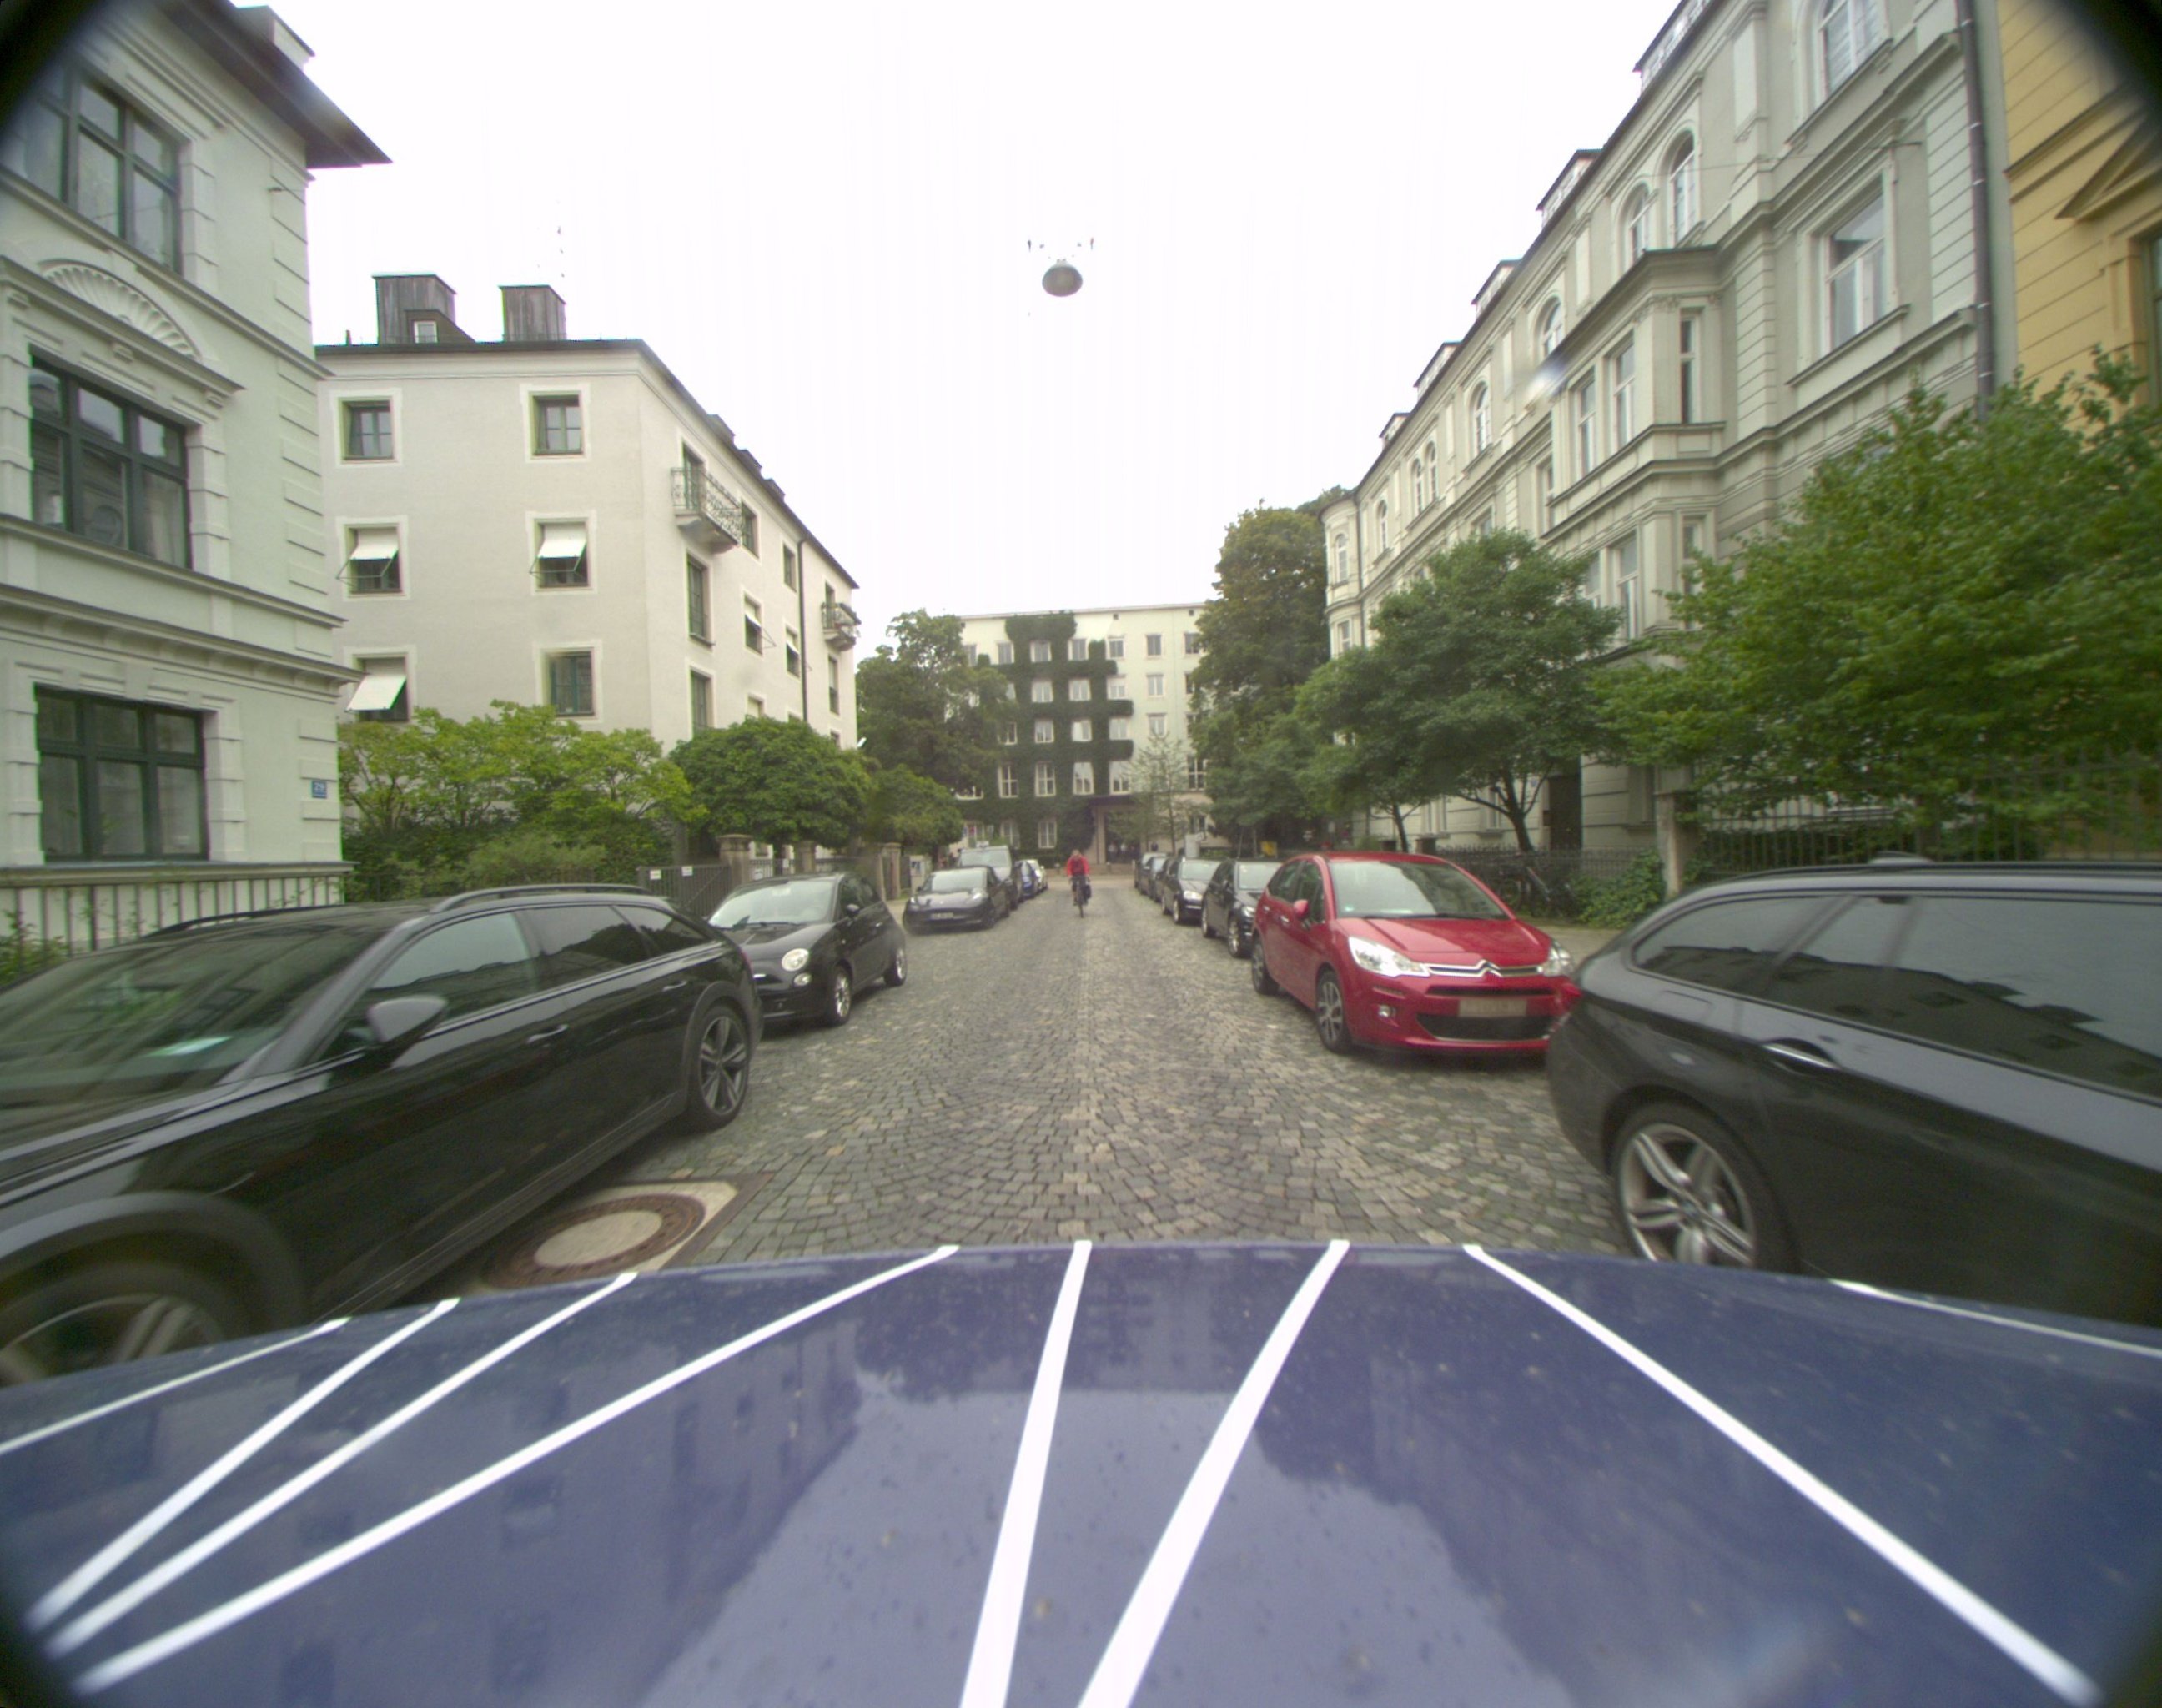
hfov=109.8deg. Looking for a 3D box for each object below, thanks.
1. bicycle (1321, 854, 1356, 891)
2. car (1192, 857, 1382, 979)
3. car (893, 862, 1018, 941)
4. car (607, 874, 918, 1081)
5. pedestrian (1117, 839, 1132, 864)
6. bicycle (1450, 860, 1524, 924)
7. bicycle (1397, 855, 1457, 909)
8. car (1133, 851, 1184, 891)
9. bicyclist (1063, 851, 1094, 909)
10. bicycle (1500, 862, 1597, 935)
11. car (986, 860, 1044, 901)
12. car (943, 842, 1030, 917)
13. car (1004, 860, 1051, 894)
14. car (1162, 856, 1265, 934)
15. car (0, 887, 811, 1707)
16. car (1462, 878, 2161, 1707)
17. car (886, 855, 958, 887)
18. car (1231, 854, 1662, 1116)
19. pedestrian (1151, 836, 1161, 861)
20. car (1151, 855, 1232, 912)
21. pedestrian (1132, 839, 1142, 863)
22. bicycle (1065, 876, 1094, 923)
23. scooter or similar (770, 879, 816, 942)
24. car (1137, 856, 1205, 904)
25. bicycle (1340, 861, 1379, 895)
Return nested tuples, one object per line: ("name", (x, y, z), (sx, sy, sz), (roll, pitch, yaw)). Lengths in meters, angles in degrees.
("bicycle", (8.081, 0.562, 23.891), (0.464, 1.045, 1.695), (-5, 1, 1))
("car", (3.061, 0.852, 12.374), (1.822, 1.500, 4.642), (1, 1, 0))
("car", (-2.828, 1.028, 18.271), (1.942, 1.457, 4.532), (-4, 0, 3))
("car", (-3.078, 1.090, 8.246), (1.671, 1.499, 3.685), (-5, 0, 1))
("pedestrian", (3.494, -0.193, 60.515), (0.703, 1.905, 0.861), (-5, 2, -30))
("bicycle", (7.806, 0.696, 14.702), (0.434, 1.092, 1.790), (-5, 1, 1))
("bicycle", (7.940, 0.612, 17.505), (0.510, 1.118, 1.790), (-5, 1, 1))
("car", (3.238, 0.674, 32.560), (1.744, 1.572, 4.281), (-1, 1, 0))
("bicyclist", (-0.058, 0.625, 18.724), (0.648, 1.350, 0.656), (-3, 1, 0))
("bicycle", (7.695, 0.690, 12.593), (0.474, 1.045, 1.759), (-5, 1, 1))
("car", (-2.437, 0.957, 29.030), (1.744, 1.367, 4.182), (-1, 1, 1))
("car", (-2.820, 0.689, 23.872), (1.999, 1.958, 4.965), (-5, 1, -1))
("car", (-2.338, 0.976, 34.098), (1.744, 1.367, 4.281), (-1, 1, 1))
("car", (2.900, 0.829, 17.520), (1.814, 1.490, 4.510), (-1, 1, 3))
("car", (-3.045, 1.086, 2.972), (1.909, 1.494, 5.105), (-5, 0, 2))
("car", (2.766, 0.880, 1.049), (1.875, 1.461, 5.133), (-1, 0, 0))
("car", (-9.893, 1.017, 47.479), (3.997, 1.671, 1.899), (-4, 1, -2))
("car", (2.701, 0.819, 6.835), (1.846, 1.577, 4.191), (-1, 1, 0))
("pedestrian", (5.980, -0.466, 60.481), (0.665, 1.905, 0.863), (-4, 1, 9))
("car", (3.187, 0.792, 22.621), (1.744, 1.490, 4.133), (-1, 1, -1))
("pedestrian", (4.447, -0.234, 60.595), (0.701, 1.905, 0.863), (-4, 1, 4))
("bicycle", (-0.033, 1.104, 18.973), (0.636, 1.021, 1.955), (-3, 1, 1))
("scooter or similar", (-6.224, 1.201, 16.484), (0.444, 1.209, 1.470), (3, 1, -2))
("car", (3.133, 0.859, 27.122), (1.744, 1.490, 4.280), (-1, 1, -2))
("bicycle", (8.081, 0.668, 22.102), (0.439, 0.868, 1.790), (-5, 1, 1))
